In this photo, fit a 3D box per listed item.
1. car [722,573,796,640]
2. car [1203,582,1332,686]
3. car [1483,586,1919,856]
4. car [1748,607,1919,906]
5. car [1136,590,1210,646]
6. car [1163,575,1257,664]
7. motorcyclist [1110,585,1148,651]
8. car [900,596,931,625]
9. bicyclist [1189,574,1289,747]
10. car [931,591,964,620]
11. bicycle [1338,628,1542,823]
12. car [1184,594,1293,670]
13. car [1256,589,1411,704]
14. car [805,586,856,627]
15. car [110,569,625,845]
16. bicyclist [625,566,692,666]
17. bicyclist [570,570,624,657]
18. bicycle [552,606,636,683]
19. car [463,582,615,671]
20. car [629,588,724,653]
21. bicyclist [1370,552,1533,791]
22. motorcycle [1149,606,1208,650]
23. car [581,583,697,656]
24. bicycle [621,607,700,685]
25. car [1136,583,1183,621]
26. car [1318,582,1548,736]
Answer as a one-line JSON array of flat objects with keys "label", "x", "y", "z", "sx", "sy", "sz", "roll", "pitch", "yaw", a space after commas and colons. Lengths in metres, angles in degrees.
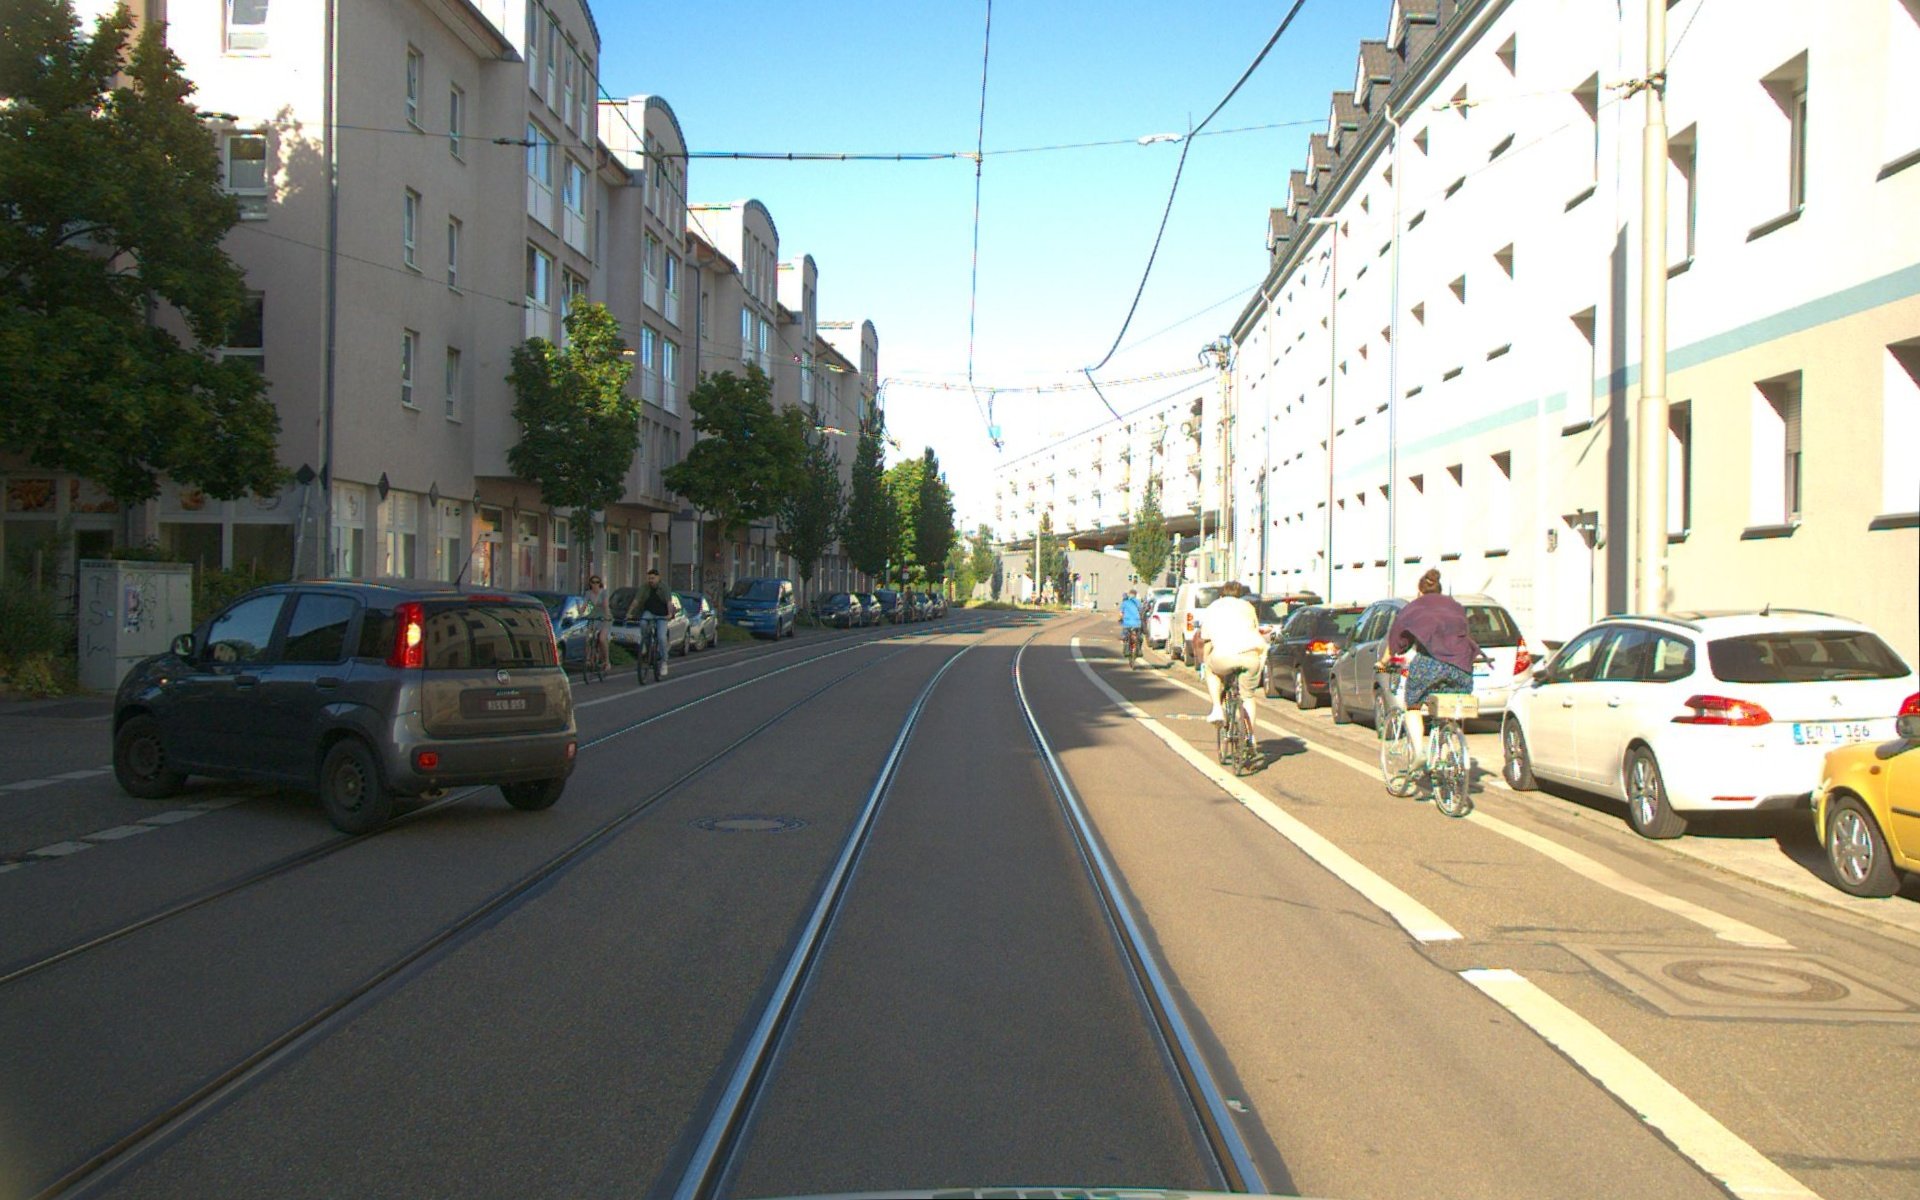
[{"label": "car", "x": -6.395, "y": 0.181, "z": 53.050, "sx": 1.630, "sy": 2.021, "sz": 4.344, "roll": 1, "pitch": 0, "yaw": 2}, {"label": "car", "x": 5.535, "y": 0.563, "z": 30.175, "sx": 1.626, "sy": 1.699, "sz": 3.905, "roll": -3, "pitch": 0, "yaw": 1}, {"label": "car", "x": 5.399, "y": 0.712, "z": 12.228, "sx": 1.645, "sy": 1.598, "sz": 4.510, "roll": -1, "pitch": 0, "yaw": 0}, {"label": "car", "x": 5.507, "y": 0.790, "z": 7.902, "sx": 1.482, "sy": 1.456, "sz": 4.201, "roll": -1, "pitch": 0, "yaw": 0}, {"label": "car", "x": 6.585, "y": 0.526, "z": 51.534, "sx": 1.806, "sy": 1.674, "sz": 4.549, "roll": 0, "pitch": 0, "yaw": 1}, {"label": "car", "x": 6.001, "y": 0.430, "z": 40.147, "sx": 1.749, "sy": 2.005, "sz": 4.155, "roll": -1, "pitch": 0, "yaw": 2}, {"label": "motorcyclist", "x": 3.721, "y": 0.383, "z": 36.503, "sx": 0.713, "sy": 1.430, "sz": 1.020, "roll": 1, "pitch": 0, "yaw": 0}, {"label": "car", "x": -2.467, "y": 0.571, "z": 91.665, "sx": 1.558, "sy": 1.567, "sz": 3.191, "roll": 0, "pitch": 0, "yaw": 1}, {"label": "bicyclist", "x": 2.493, "y": 0.521, "z": 14.866, "sx": 0.713, "sy": 1.487, "sz": 1.020, "roll": 1, "pitch": 0, "yaw": 0}, {"label": "car", "x": -0.735, "y": 0.289, "z": 97.722, "sx": 1.806, "sy": 1.674, "sz": 3.698, "roll": 0, "pitch": 0, "yaw": 1}, {"label": "bicycle", "x": 3.593, "y": 0.884, "z": 12.640, "sx": 0.804, "sy": 1.258, "sz": 2.462, "roll": 2, "pitch": 0, "yaw": 0}, {"label": "car", "x": 5.871, "y": 0.632, "z": 35.204, "sx": 1.758, "sy": 1.509, "sz": 3.779, "roll": 0, "pitch": 0, "yaw": 1}, {"label": "car", "x": 5.587, "y": 0.634, "z": 25.179, "sx": 1.558, "sy": 1.564, "sz": 4.008, "roll": -2, "pitch": 0, "yaw": 2}, {"label": "car", "x": -5.366, "y": 0.234, "z": 68.849, "sx": 1.630, "sy": 1.646, "sz": 4.001, "roll": 1, "pitch": 0, "yaw": 2}, {"label": "car", "x": -4.025, "y": 0.596, "z": 11.087, "sx": 3.415, "sy": 1.559, "sz": 1.556, "roll": 1, "pitch": 0, "yaw": 35}, {"label": "bicyclist", "x": -4.983, "y": 0.260, "z": 27.366, "sx": 0.863, "sy": 1.588, "sz": 0.868, "roll": -3, "pitch": 0, "yaw": 0}, {"label": "bicyclist", "x": -6.092, "y": 0.226, "z": 27.797, "sx": 0.610, "sy": 1.404, "sz": 0.868, "roll": -4, "pitch": 0, "yaw": 0}, {"label": "bicycle", "x": -6.111, "y": 0.719, "z": 27.770, "sx": 0.822, "sy": 1.169, "sz": 2.233, "roll": -4, "pitch": 0, "yaw": 1}, {"label": "car", "x": -7.846, "y": 0.452, "z": 31.191, "sx": 1.792, "sy": 1.515, "sz": 4.000, "roll": -1, "pitch": 0, "yaw": 0}, {"label": "car", "x": -7.489, "y": 0.511, "z": 44.041, "sx": 1.792, "sy": 1.621, "sz": 4.000, "roll": 0, "pitch": 0, "yaw": 0}, {"label": "bicyclist", "x": 3.650, "y": 0.511, "z": 12.370, "sx": 0.915, "sy": 1.705, "sz": 0.969, "roll": 1, "pitch": 0, "yaw": 0}, {"label": "motorcycle", "x": 6.011, "y": 0.771, "z": 45.596, "sx": 0.487, "sy": 1.164, "sz": 1.746, "roll": 1, "pitch": 0, "yaw": -38}, {"label": "car", "x": -7.528, "y": 0.415, "z": 39.181, "sx": 1.791, "sy": 1.621, "sz": 4.002, "roll": 0, "pitch": 0, "yaw": 3}, {"label": "bicycle", "x": -4.976, "y": 0.738, "z": 27.636, "sx": 0.822, "sy": 1.169, "sz": 2.233, "roll": -4, "pitch": 0, "yaw": 1}, {"label": "car", "x": 9.596, "y": 0.083, "z": 79.700, "sx": 1.806, "sy": 1.786, "sz": 4.549, "roll": 0, "pitch": 0, "yaw": 1}, {"label": "car", "x": 5.584, "y": 0.634, "z": 20.011, "sx": 1.718, "sy": 1.598, "sz": 3.905, "roll": -3, "pitch": 0, "yaw": 2}]
